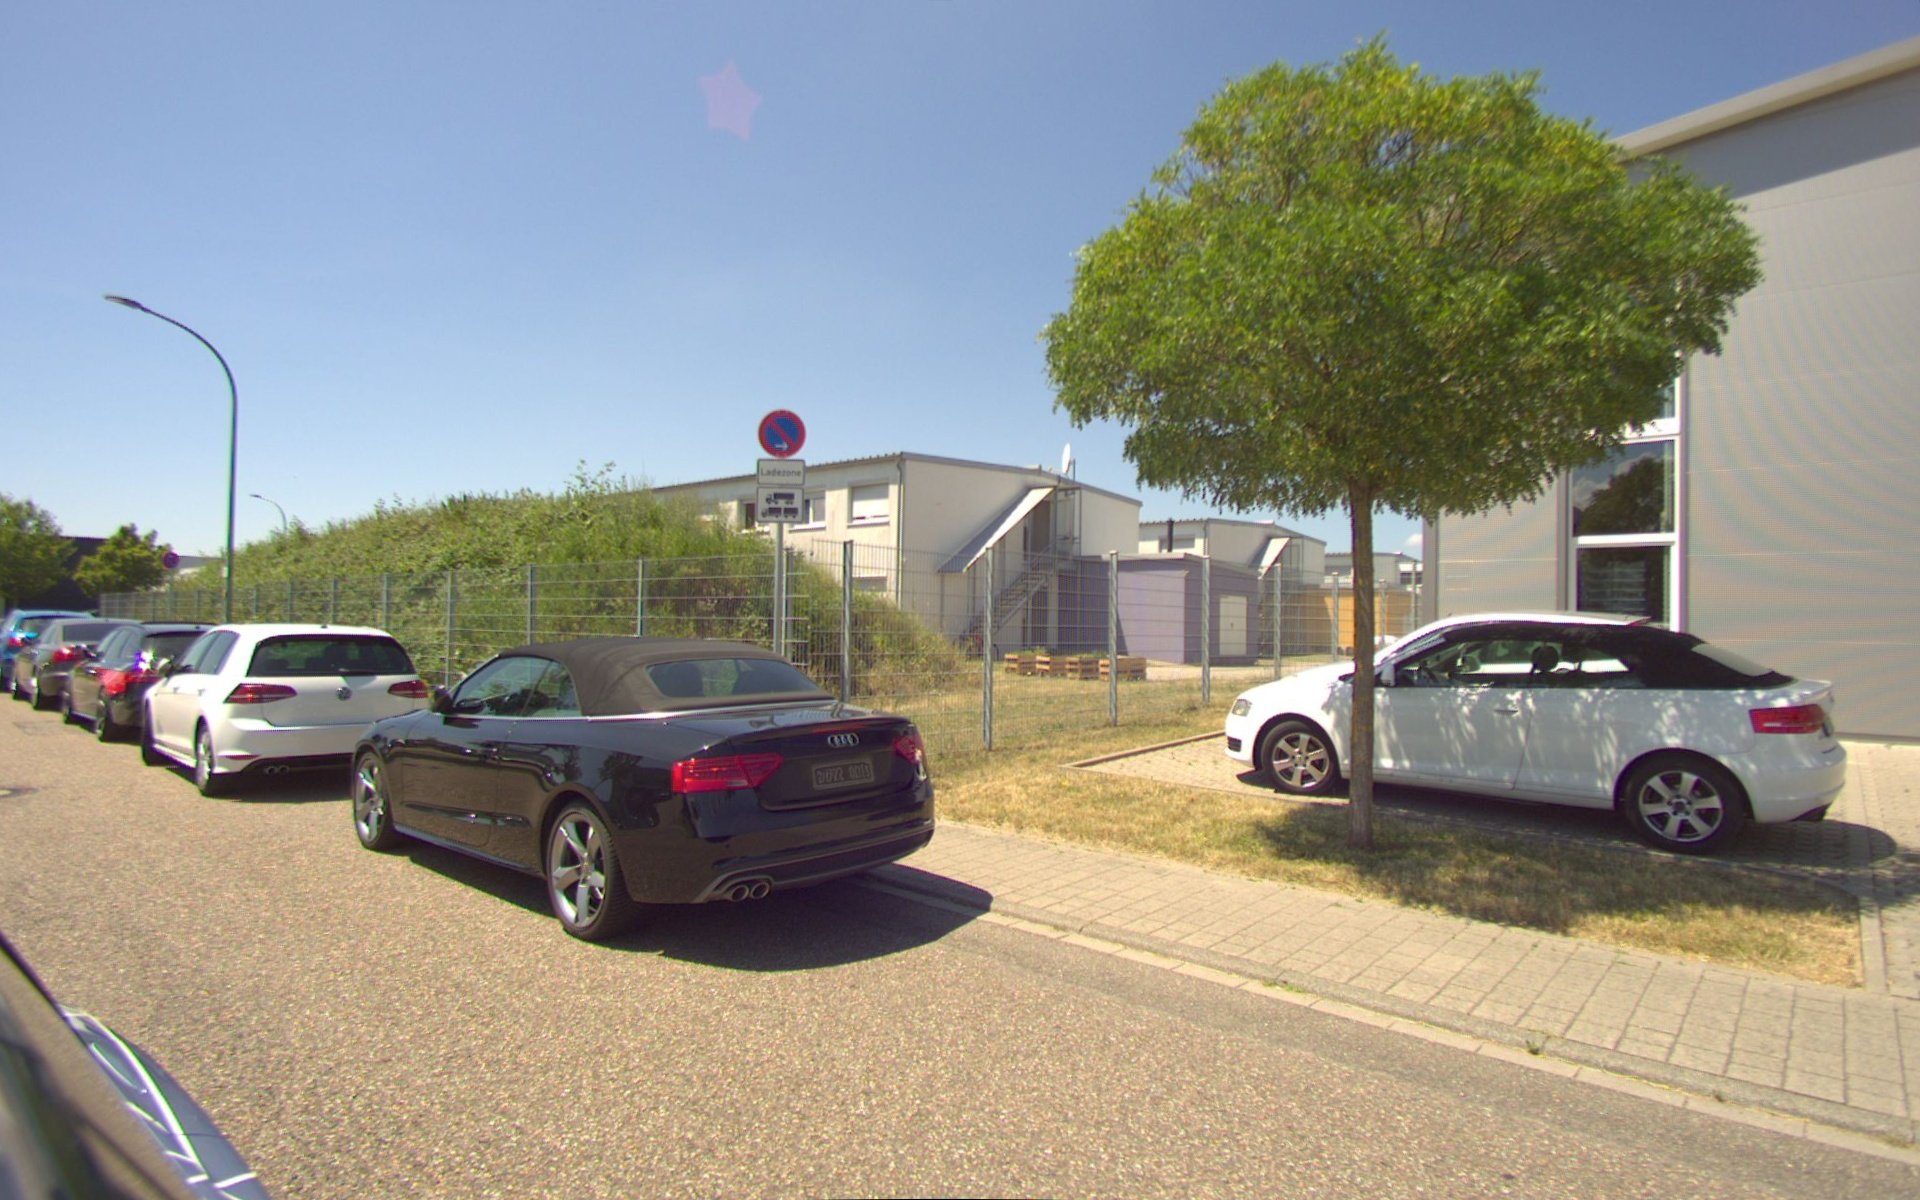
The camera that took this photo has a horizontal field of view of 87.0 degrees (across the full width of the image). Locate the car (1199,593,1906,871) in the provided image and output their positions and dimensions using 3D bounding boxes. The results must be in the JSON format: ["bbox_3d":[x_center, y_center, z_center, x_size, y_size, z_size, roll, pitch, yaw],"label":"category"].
[{"bbox_3d":[4.192,0.759,7.669,4.328,1.511,1.804,-1,-2,44],"label":"car"}]

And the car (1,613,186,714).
[{"bbox_3d":[-14.920,1.013,17.338,4.519,1.511,1.805,-1,-3,42],"label":"car"}]

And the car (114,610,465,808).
[{"bbox_3d":[-6.662,0.889,9.866,4.258,1.511,1.805,-1,-3,42],"label":"car"}]

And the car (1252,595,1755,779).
[{"bbox_3d":[5.413,0.731,10.460,4.259,1.511,1.804,-1,0,44],"label":"car"}]

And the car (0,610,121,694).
[{"bbox_3d":[-19.046,1.025,20.975,4.384,1.582,1.805,-1,-3,41],"label":"car"}]

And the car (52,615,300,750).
[{"bbox_3d":[-10.555,0.980,13.490,4.519,1.511,1.805,-1,-3,42],"label":"car"}]

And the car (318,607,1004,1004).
[{"bbox_3d":[-2.060,0.841,6.070,4.524,1.511,1.805,-1,-3,42],"label":"car"}]

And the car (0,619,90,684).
[{"bbox_3d":[-22.748,1.195,24.521,4.578,1.466,1.805,-1,-3,41],"label":"car"}]
